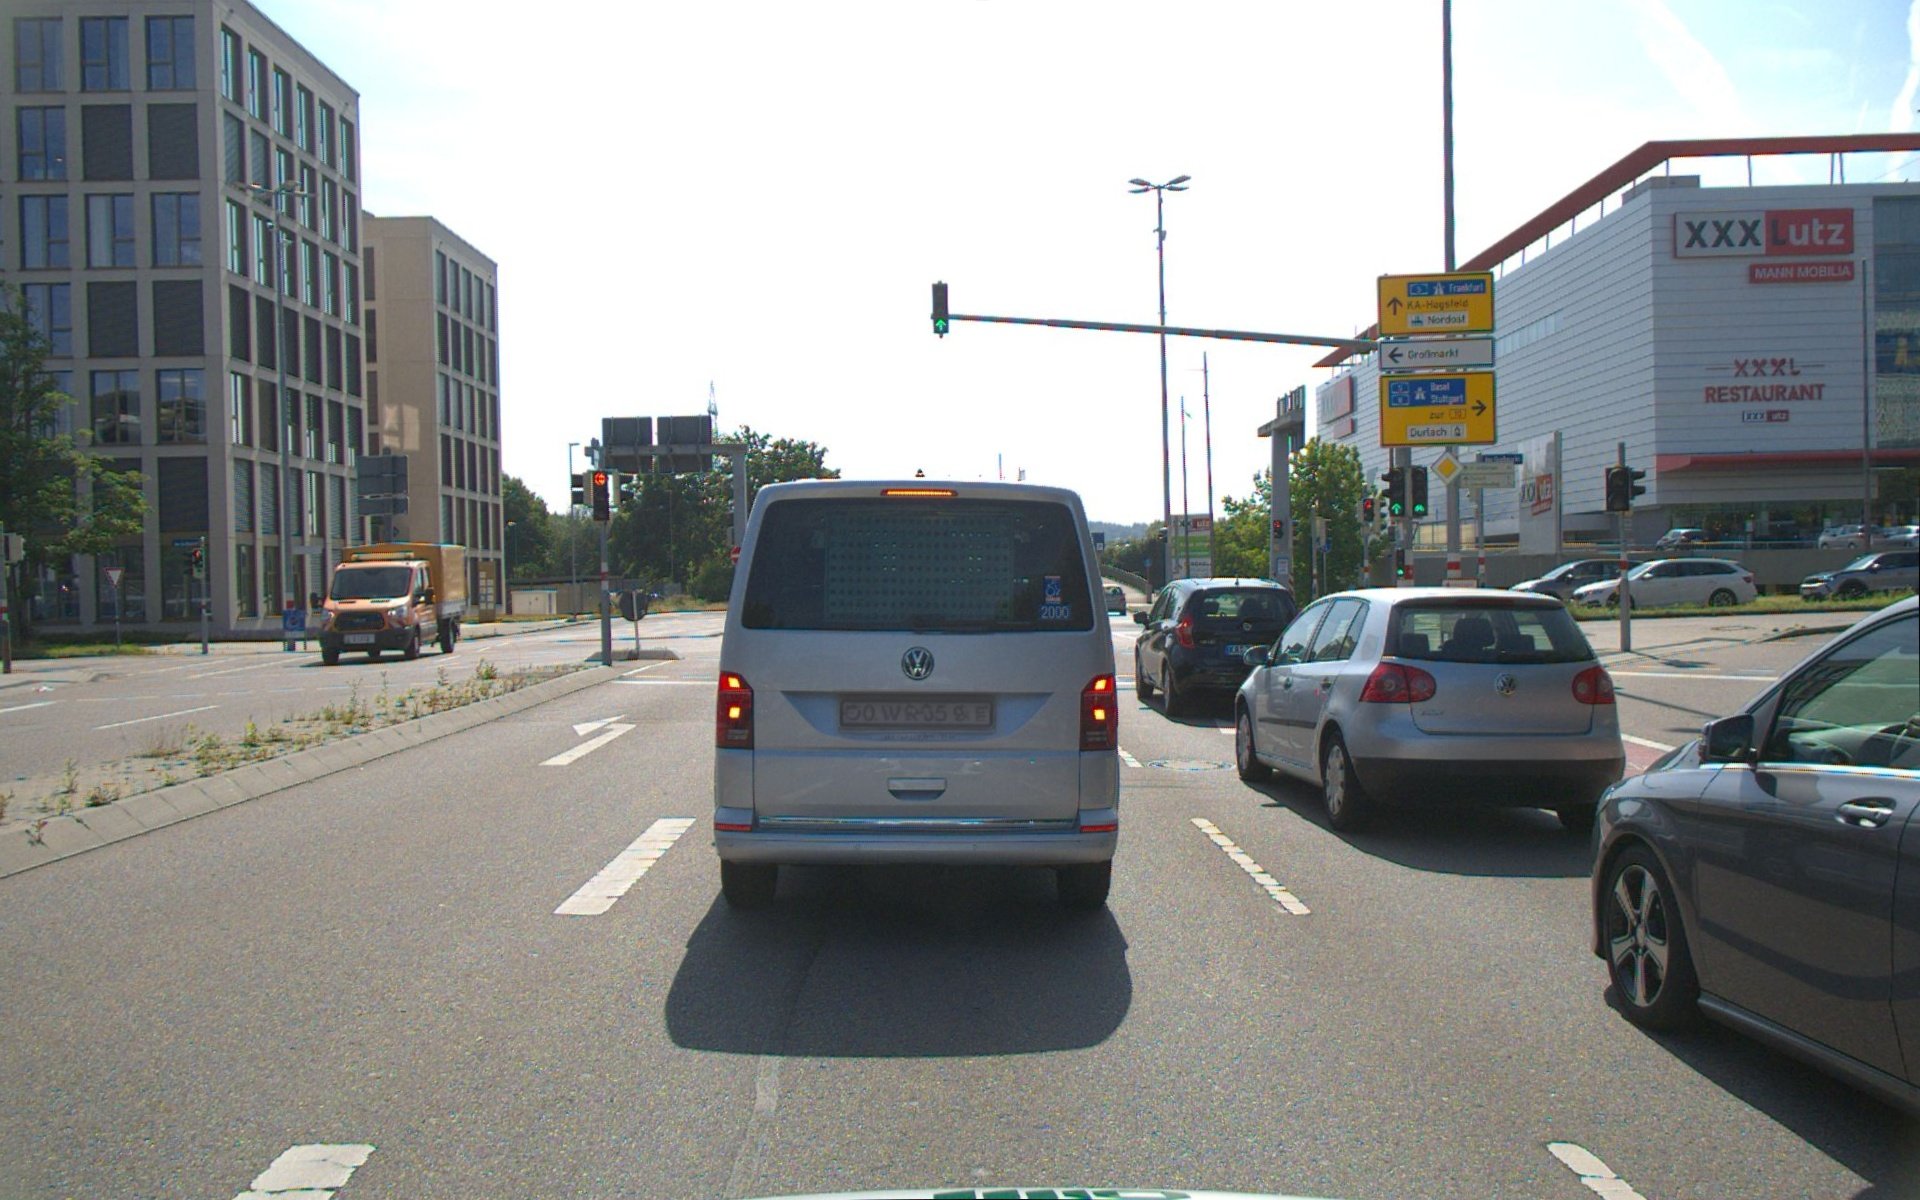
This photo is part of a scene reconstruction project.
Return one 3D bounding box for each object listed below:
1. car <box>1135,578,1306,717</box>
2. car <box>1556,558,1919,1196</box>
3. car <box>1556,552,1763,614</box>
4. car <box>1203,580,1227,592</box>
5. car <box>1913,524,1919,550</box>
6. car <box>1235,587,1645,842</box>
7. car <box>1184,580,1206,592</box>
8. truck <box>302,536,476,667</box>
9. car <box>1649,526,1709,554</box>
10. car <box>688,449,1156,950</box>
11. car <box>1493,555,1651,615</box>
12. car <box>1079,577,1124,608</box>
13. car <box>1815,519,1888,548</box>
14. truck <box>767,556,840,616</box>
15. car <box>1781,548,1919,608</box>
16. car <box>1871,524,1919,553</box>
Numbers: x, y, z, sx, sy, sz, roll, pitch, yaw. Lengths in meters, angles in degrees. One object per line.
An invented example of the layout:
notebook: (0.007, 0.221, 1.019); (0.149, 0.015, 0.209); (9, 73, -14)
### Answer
car: (3.024, 0.497, 19.771); (1.499, 1.505, 3.596); (0, 1, 0)
car: (3.214, 0.668, 4.303); (1.738, 1.566, 4.137); (0, 1, -2)
car: (18.454, -0.422, 43.782); (4.618, 1.450, 1.959); (-2, -1, 2)
car: (33.786, -1.814, 219.131); (1.957, 1.445, 3.991); (1, 0, -9)
car: (54.321, -3.503, 90.629); (1.833, 1.444, 4.201); (-1, 1, 2)
car: (3.052, 0.636, 11.291); (1.633, 1.439, 3.681); (0, 1, -2)
car: (31.124, -1.882, 219.056); (1.849, 1.545, 3.991); (1, 0, -9)
truck: (-13.152, 0.004, 38.606); (2.330, 2.670, 6.663); (-3, 1, -7)
car: (41.669, -3.463, 95.958); (1.734, 1.444, 4.201); (-1, 1, 2)
car: (-0.185, 0.377, 8.809); (1.878, 2.010, 4.296); (0, 1, -1)
car: (17.277, -0.427, 46.821); (3.803, 1.585, 1.809); (-1, 0, 3)
car: (6.985, -0.395, 81.881); (1.502, 1.463, 3.241); (-2, 1, -8)
car: (48.886, -3.642, 90.738); (1.762, 1.444, 4.007); (-1, 1, -1)
truck: (-10.317, -0.963, 109.944); (2.687, 3.744, 7.586); (-2, 1, 11)
car: (25.407, -0.626, 46.225); (3.945, 1.535, 1.909); (-2, -1, 2)
car: (51.578, -3.358, 90.021); (1.794, 1.444, 4.201); (-1, 1, 2)
